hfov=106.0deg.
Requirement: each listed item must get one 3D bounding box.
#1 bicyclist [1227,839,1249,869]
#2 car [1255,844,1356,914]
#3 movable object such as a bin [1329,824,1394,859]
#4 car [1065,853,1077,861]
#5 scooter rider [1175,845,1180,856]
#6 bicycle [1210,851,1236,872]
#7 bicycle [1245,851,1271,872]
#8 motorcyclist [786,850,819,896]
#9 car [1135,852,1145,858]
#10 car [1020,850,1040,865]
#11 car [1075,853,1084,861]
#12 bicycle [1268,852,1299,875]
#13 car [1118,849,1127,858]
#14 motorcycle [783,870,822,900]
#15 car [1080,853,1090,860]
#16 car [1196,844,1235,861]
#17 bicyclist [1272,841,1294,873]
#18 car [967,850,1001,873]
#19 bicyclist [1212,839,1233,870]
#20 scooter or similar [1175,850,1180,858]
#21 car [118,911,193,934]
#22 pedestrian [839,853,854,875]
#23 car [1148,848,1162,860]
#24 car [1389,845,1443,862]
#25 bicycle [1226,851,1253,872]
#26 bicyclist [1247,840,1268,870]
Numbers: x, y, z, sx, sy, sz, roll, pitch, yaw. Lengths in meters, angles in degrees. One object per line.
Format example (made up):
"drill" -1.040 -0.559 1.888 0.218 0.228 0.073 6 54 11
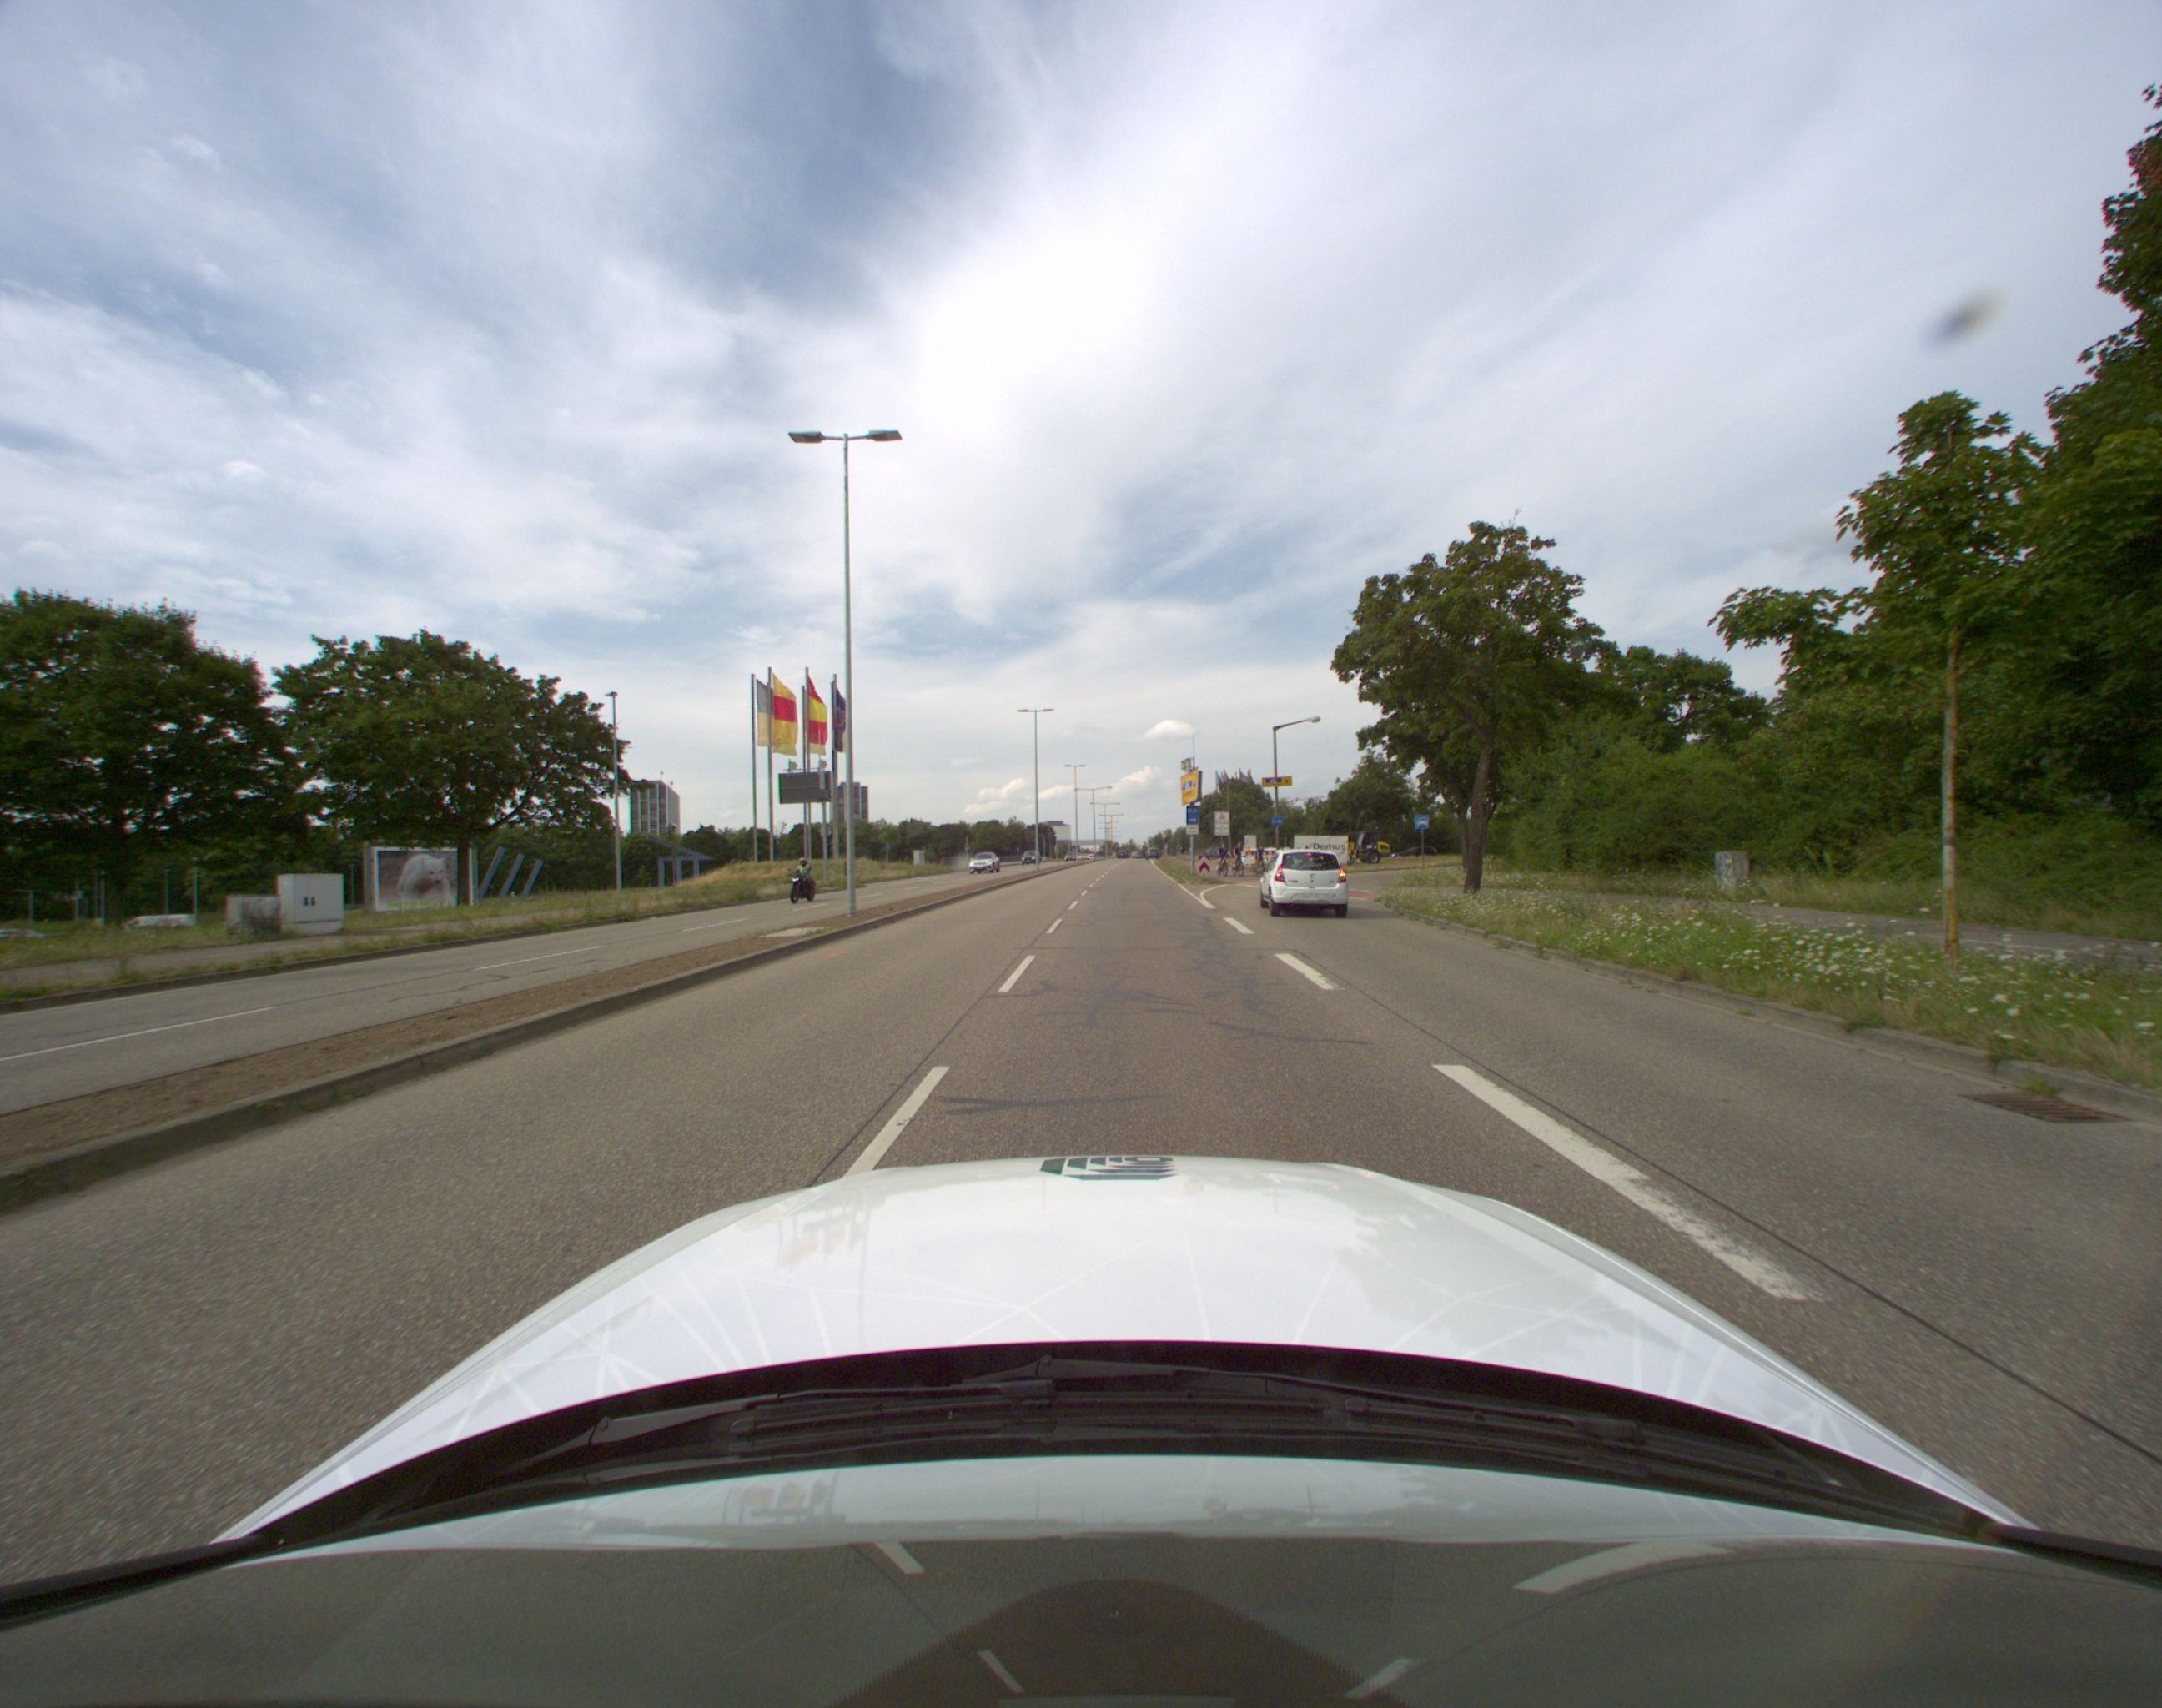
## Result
"bicyclist" 7.941 0.002 41.201 0.741 1.518 0.954 0 -1 -12
"car" 5.282 0.538 19.637 1.837 1.502 4.009 1 0 8
"movable object such as a bin" 21.903 -0.942 63.779 4.476 2.689 2.106 -1 -1 8
"car" -1.759 0.526 144.833 1.756 1.440 4.181 -3 0 4
"scooter rider" 14.901 -0.478 125.661 0.586 1.690 0.742 0 -1 -5
"bicycle" 7.062 0.356 40.583 0.620 1.006 2.095 1 0 -10
"bicycle" 8.942 0.382 41.268 0.620 1.006 1.781 -3 0 -10
"motorcyclist" -10.073 0.679 29.500 0.767 1.588 0.897 -3 0 2
"car" 14.096 0.204 196.097 1.728 1.526 4.107 0 0 -5
"car" -7.029 0.506 112.720 1.838 1.893 5.512 -4 0 5
"car" -0.360 0.565 170.265 1.542 1.578 3.694 -3 0 4
"bicycle" 9.422 0.429 38.003 0.621 1.006 1.779 -3 0 -13
"car" 8.221 -0.008 160.886 1.722 1.653 4.120 -1 -1 5
"motorcycle" -10.056 1.096 29.471 0.520 0.967 2.221 -2 0 2
"car" 0.850 0.594 185.896 1.641 1.515 4.024 -3 0 7
"car" 13.963 -0.108 84.923 1.742 1.653 4.073 0 -1 -32
"bicyclist" 9.416 0.119 37.979 0.741 1.474 0.802 0 -1 -13
"car" -7.674 0.576 64.919 1.839 1.601 4.565 -2 1 3
"bicyclist" 7.057 0.009 40.559 0.741 1.518 0.954 0 -1 -11
"scooter or similar" 14.909 -0.037 125.705 0.587 1.224 1.201 0 -1 -4
"car" -115.022 8.477 101.311 5.849 2.379 1.979 -2 0 -18
"pedestrian" -18.419 0.801 63.883 0.862 1.693 0.679 -3 0 2
"car" 10.796 -0.030 118.937 1.725 1.653 4.113 -1 -1 -1
"car" 29.788 -0.036 72.432 4.096 1.395 1.733 -2 1 -6
"bicycle" 7.959 0.361 41.025 0.595 1.036 2.187 1 0 -10
"bicyclist" 8.934 0.066 41.228 0.741 1.487 0.955 0 -1 -11
